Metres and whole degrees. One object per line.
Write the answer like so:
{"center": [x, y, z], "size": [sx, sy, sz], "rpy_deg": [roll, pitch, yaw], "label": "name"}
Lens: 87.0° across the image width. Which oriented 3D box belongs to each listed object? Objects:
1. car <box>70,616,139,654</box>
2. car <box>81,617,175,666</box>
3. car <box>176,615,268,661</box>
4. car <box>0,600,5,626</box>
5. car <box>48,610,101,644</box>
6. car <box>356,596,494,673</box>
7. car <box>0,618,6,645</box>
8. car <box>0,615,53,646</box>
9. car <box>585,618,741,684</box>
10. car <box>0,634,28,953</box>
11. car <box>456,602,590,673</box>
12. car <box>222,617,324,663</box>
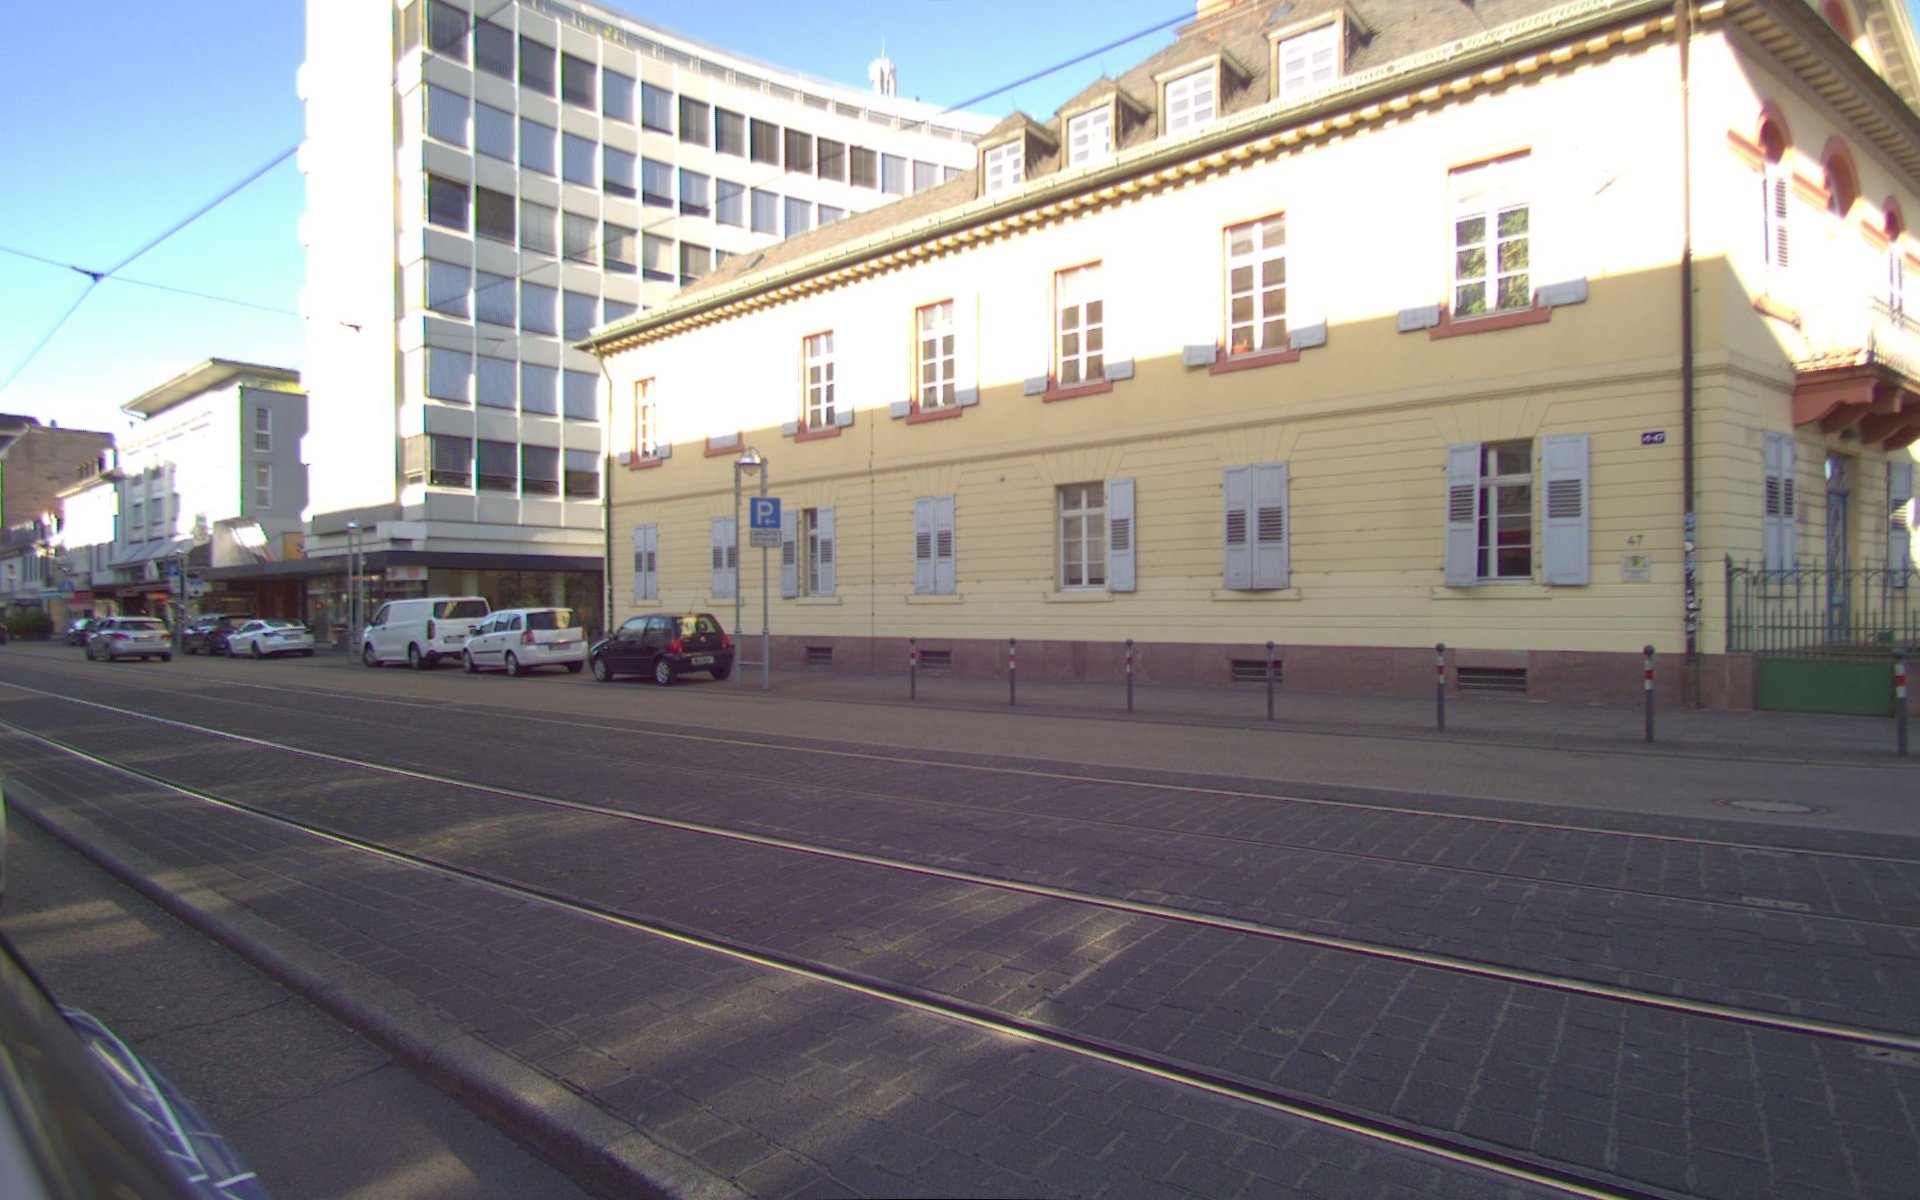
{"center": [-44.350, 1.765, 52.457], "size": [3.995, 1.874, 1.974], "rpy_deg": [-1, 0, 38], "label": "car"}
{"center": [-29.200, 1.429, 35.499], "size": [3.994, 1.609, 1.739], "rpy_deg": [-1, -1, 38], "label": "car"}
{"center": [-29.914, 1.489, 40.969], "size": [4.103, 1.717, 1.975], "rpy_deg": [-1, 0, 38], "label": "car"}
{"center": [-78.858, 1.073, 81.697], "size": [3.995, 2.029, 1.974], "rpy_deg": [-1, 0, 38], "label": "car"}
{"center": [-50.475, 1.541, 57.658], "size": [3.999, 1.896, 1.766], "rpy_deg": [-2, -2, 42], "label": "car"}
{"center": [-15.358, 0.969, 28.953], "size": [4.619, 2.029, 2.014], "rpy_deg": [-1, -1, 41], "label": "car"}
{"center": [-57.263, 1.833, 59.183], "size": [4.001, 1.519, 1.937], "rpy_deg": [-1, 0, 44], "label": "car"}
{"center": [-62.910, 2.042, 68.124], "size": [3.996, 2.058, 2.172], "rpy_deg": [-1, -1, 39], "label": "car"}
{"center": [-6.332, 1.026, 21.487], "size": [3.210, 1.263, 1.667], "rpy_deg": [-1, 0, 39], "label": "car"}
{"center": [-6.319, 0.881, 4.951], "size": [3.992, 1.393, 1.862], "rpy_deg": [-1, 0, 36], "label": "car"}
{"center": [-11.010, 0.890, 25.375], "size": [4.005, 1.621, 1.619], "rpy_deg": [-1, 0, 43], "label": "car"}
{"center": [-25.598, 1.443, 37.671], "size": [4.369, 1.541, 1.974], "rpy_deg": [-1, 0, 39], "label": "car"}
